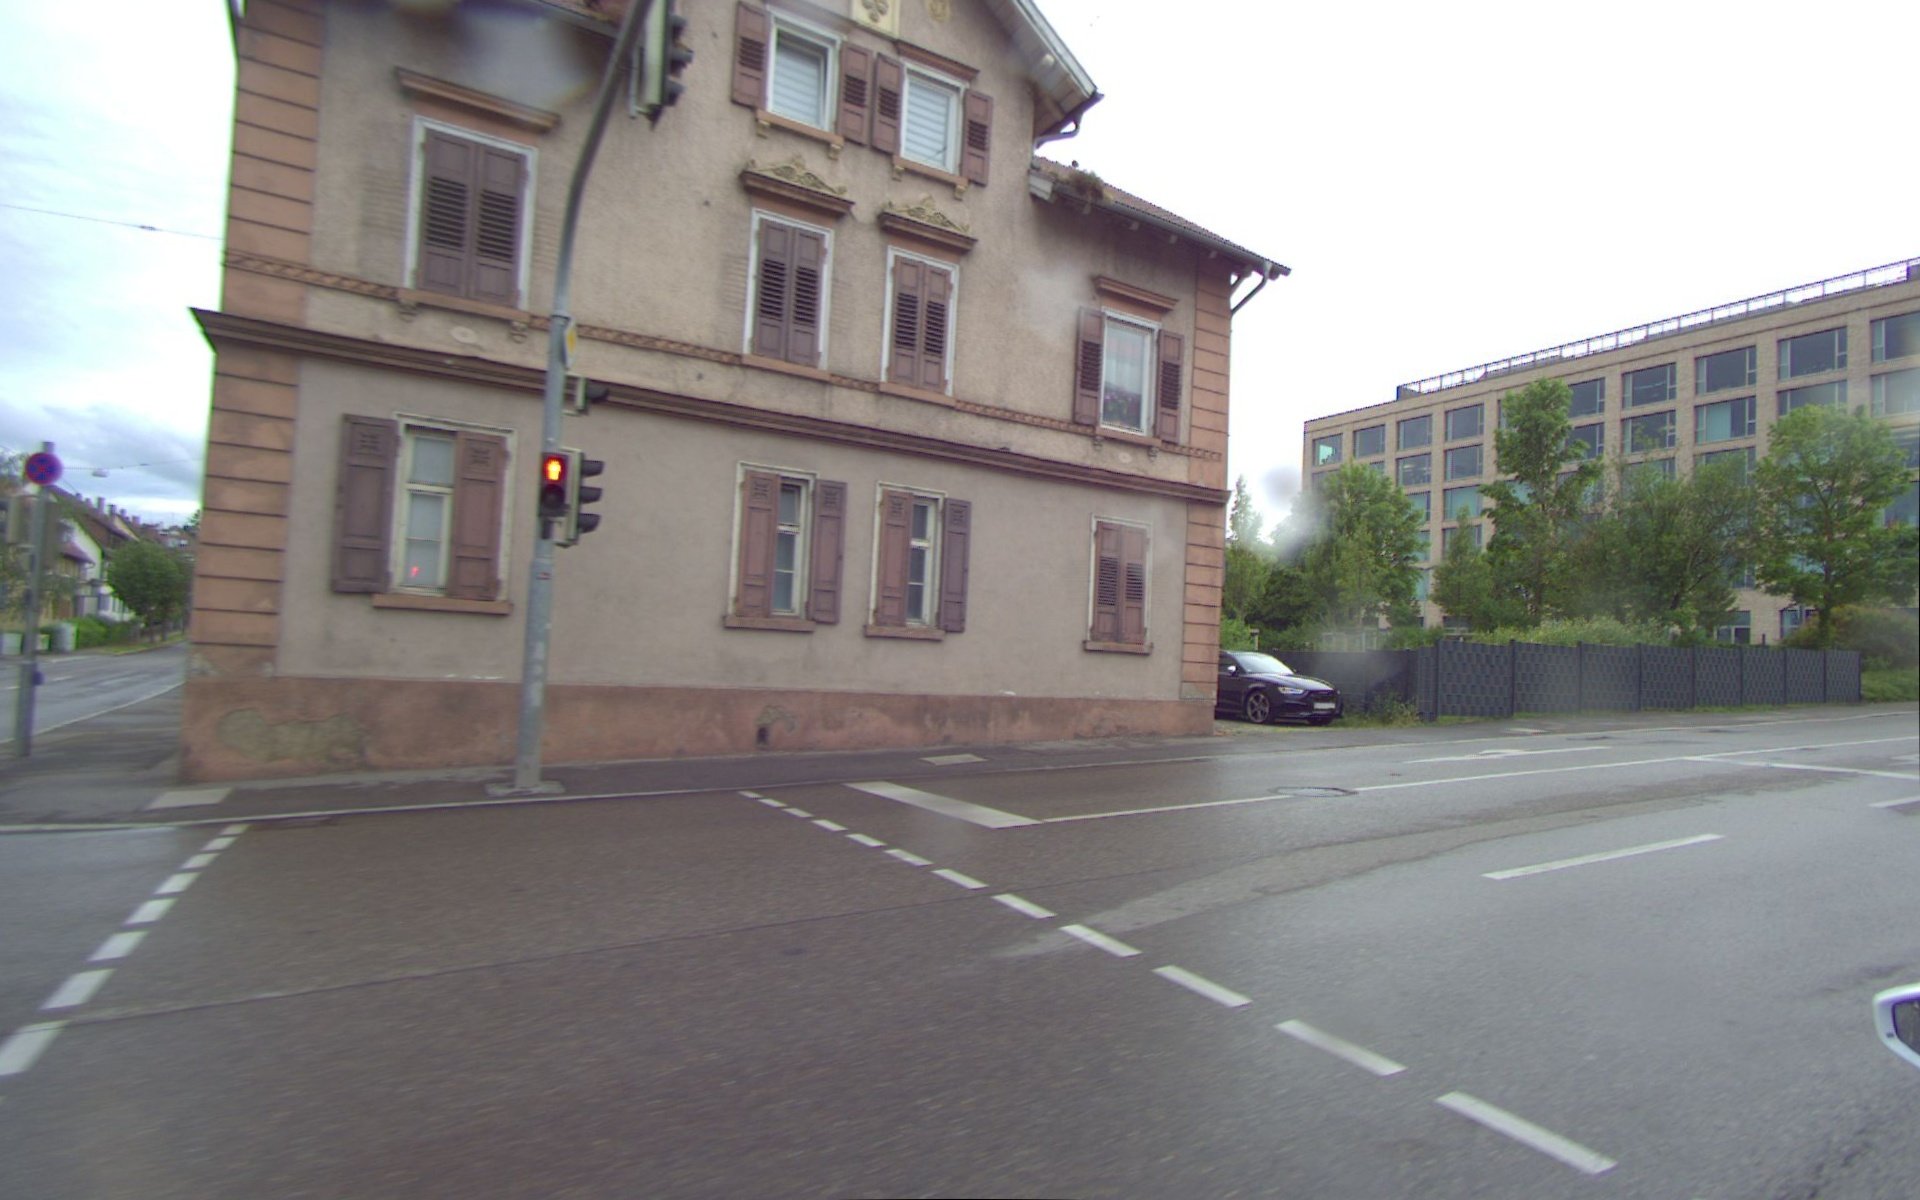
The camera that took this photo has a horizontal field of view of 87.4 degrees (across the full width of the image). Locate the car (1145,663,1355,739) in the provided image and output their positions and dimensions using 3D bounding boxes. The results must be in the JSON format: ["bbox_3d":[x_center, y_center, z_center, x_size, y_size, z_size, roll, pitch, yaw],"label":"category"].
[{"bbox_3d":[5.683,1.958,20.125,1.590,1.178,3.963,3,-2,-33],"label":"car"}]
